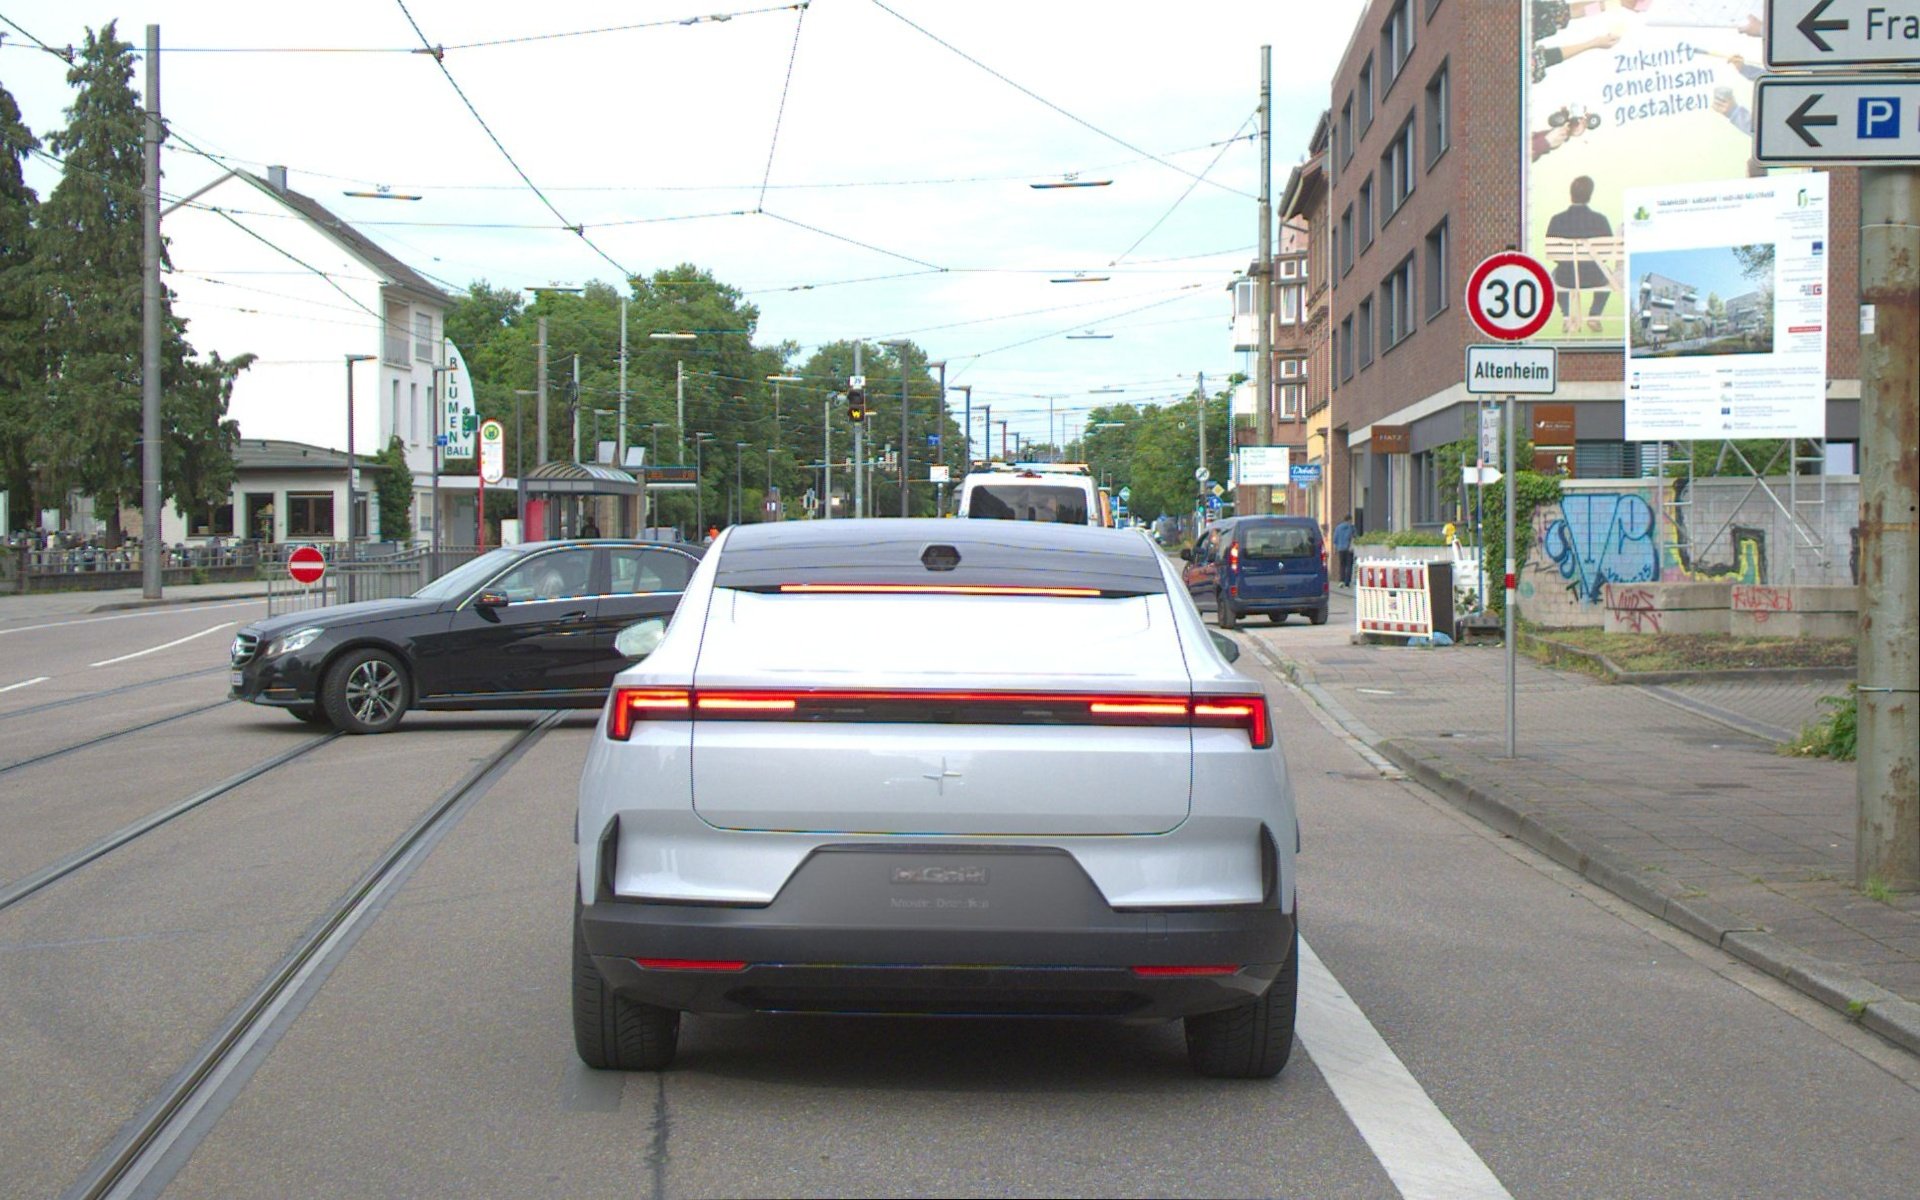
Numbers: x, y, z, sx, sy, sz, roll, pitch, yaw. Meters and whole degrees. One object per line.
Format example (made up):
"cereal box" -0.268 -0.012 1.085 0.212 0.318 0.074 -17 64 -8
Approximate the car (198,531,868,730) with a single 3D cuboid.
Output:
"car" -3.323 0.190 26.582 4.868 1.422 1.953 -1 1 -17

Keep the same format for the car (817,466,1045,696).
"car" -0.342 -0.193 32.700 1.993 2.007 4.000 1 1 -2

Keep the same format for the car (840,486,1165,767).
"car" 0.208 0.150 23.926 1.968 1.750 3.838 1 1 -3

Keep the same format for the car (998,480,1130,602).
"car" 1.884 -1.083 63.828 2.139 2.138 4.744 1 1 -1

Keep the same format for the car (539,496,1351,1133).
"car" -0.194 0.495 10.603 1.981 1.544 4.184 1 1 -5

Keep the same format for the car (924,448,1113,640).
"car" 0.730 -0.747 46.585 2.216 2.415 4.952 1 1 -2

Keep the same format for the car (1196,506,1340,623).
"car" 5.064 -0.588 56.990 1.874 1.817 4.097 1 1 -2
